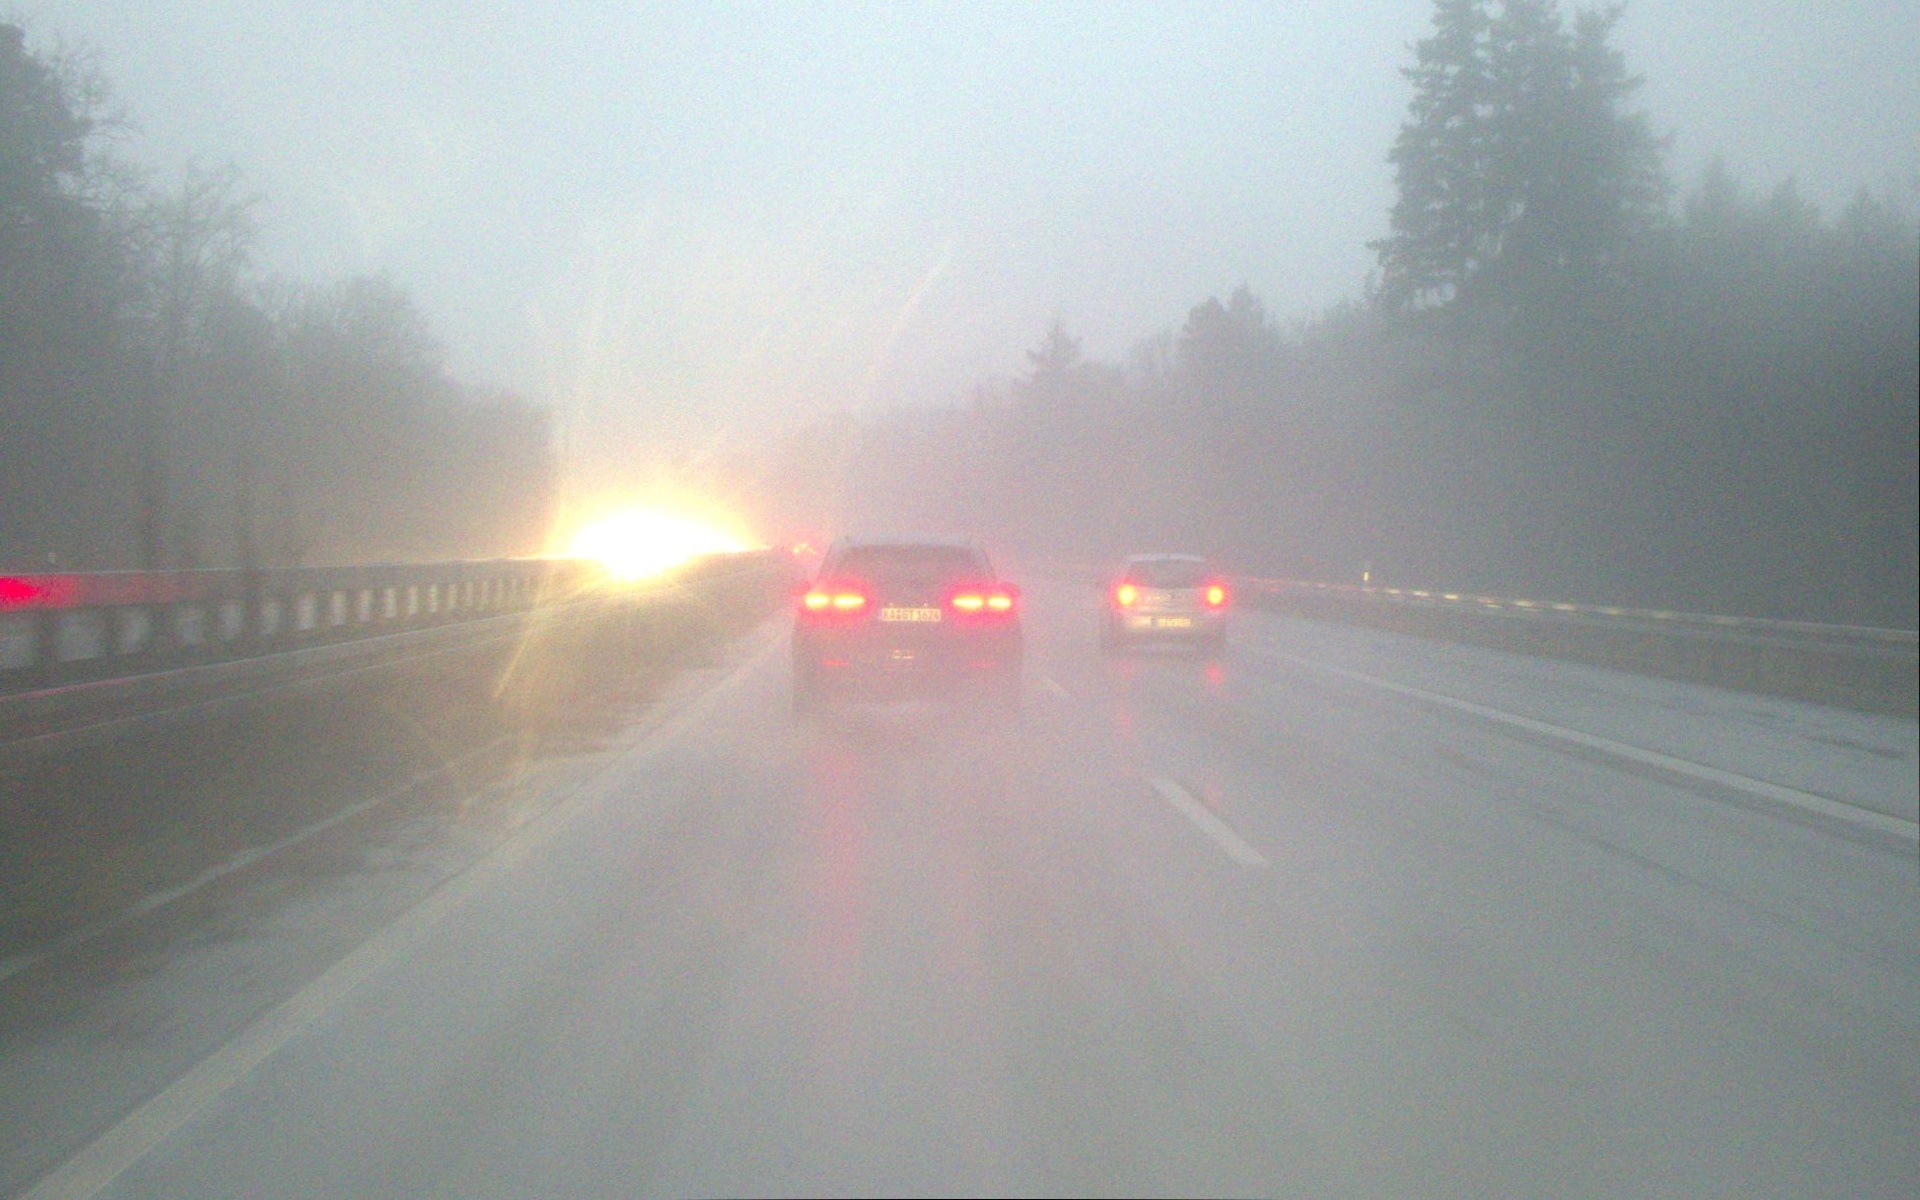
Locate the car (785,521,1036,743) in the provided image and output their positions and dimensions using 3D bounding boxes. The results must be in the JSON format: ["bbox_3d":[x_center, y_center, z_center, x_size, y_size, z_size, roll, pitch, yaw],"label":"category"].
[{"bbox_3d":[-0.461,0.215,29.348,1.986,1.761,4.174,0,1,-2],"label":"car"}]

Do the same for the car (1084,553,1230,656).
[{"bbox_3d":[2.845,0.034,50.313,1.780,1.432,3.538,0,1,-3],"label":"car"}]
